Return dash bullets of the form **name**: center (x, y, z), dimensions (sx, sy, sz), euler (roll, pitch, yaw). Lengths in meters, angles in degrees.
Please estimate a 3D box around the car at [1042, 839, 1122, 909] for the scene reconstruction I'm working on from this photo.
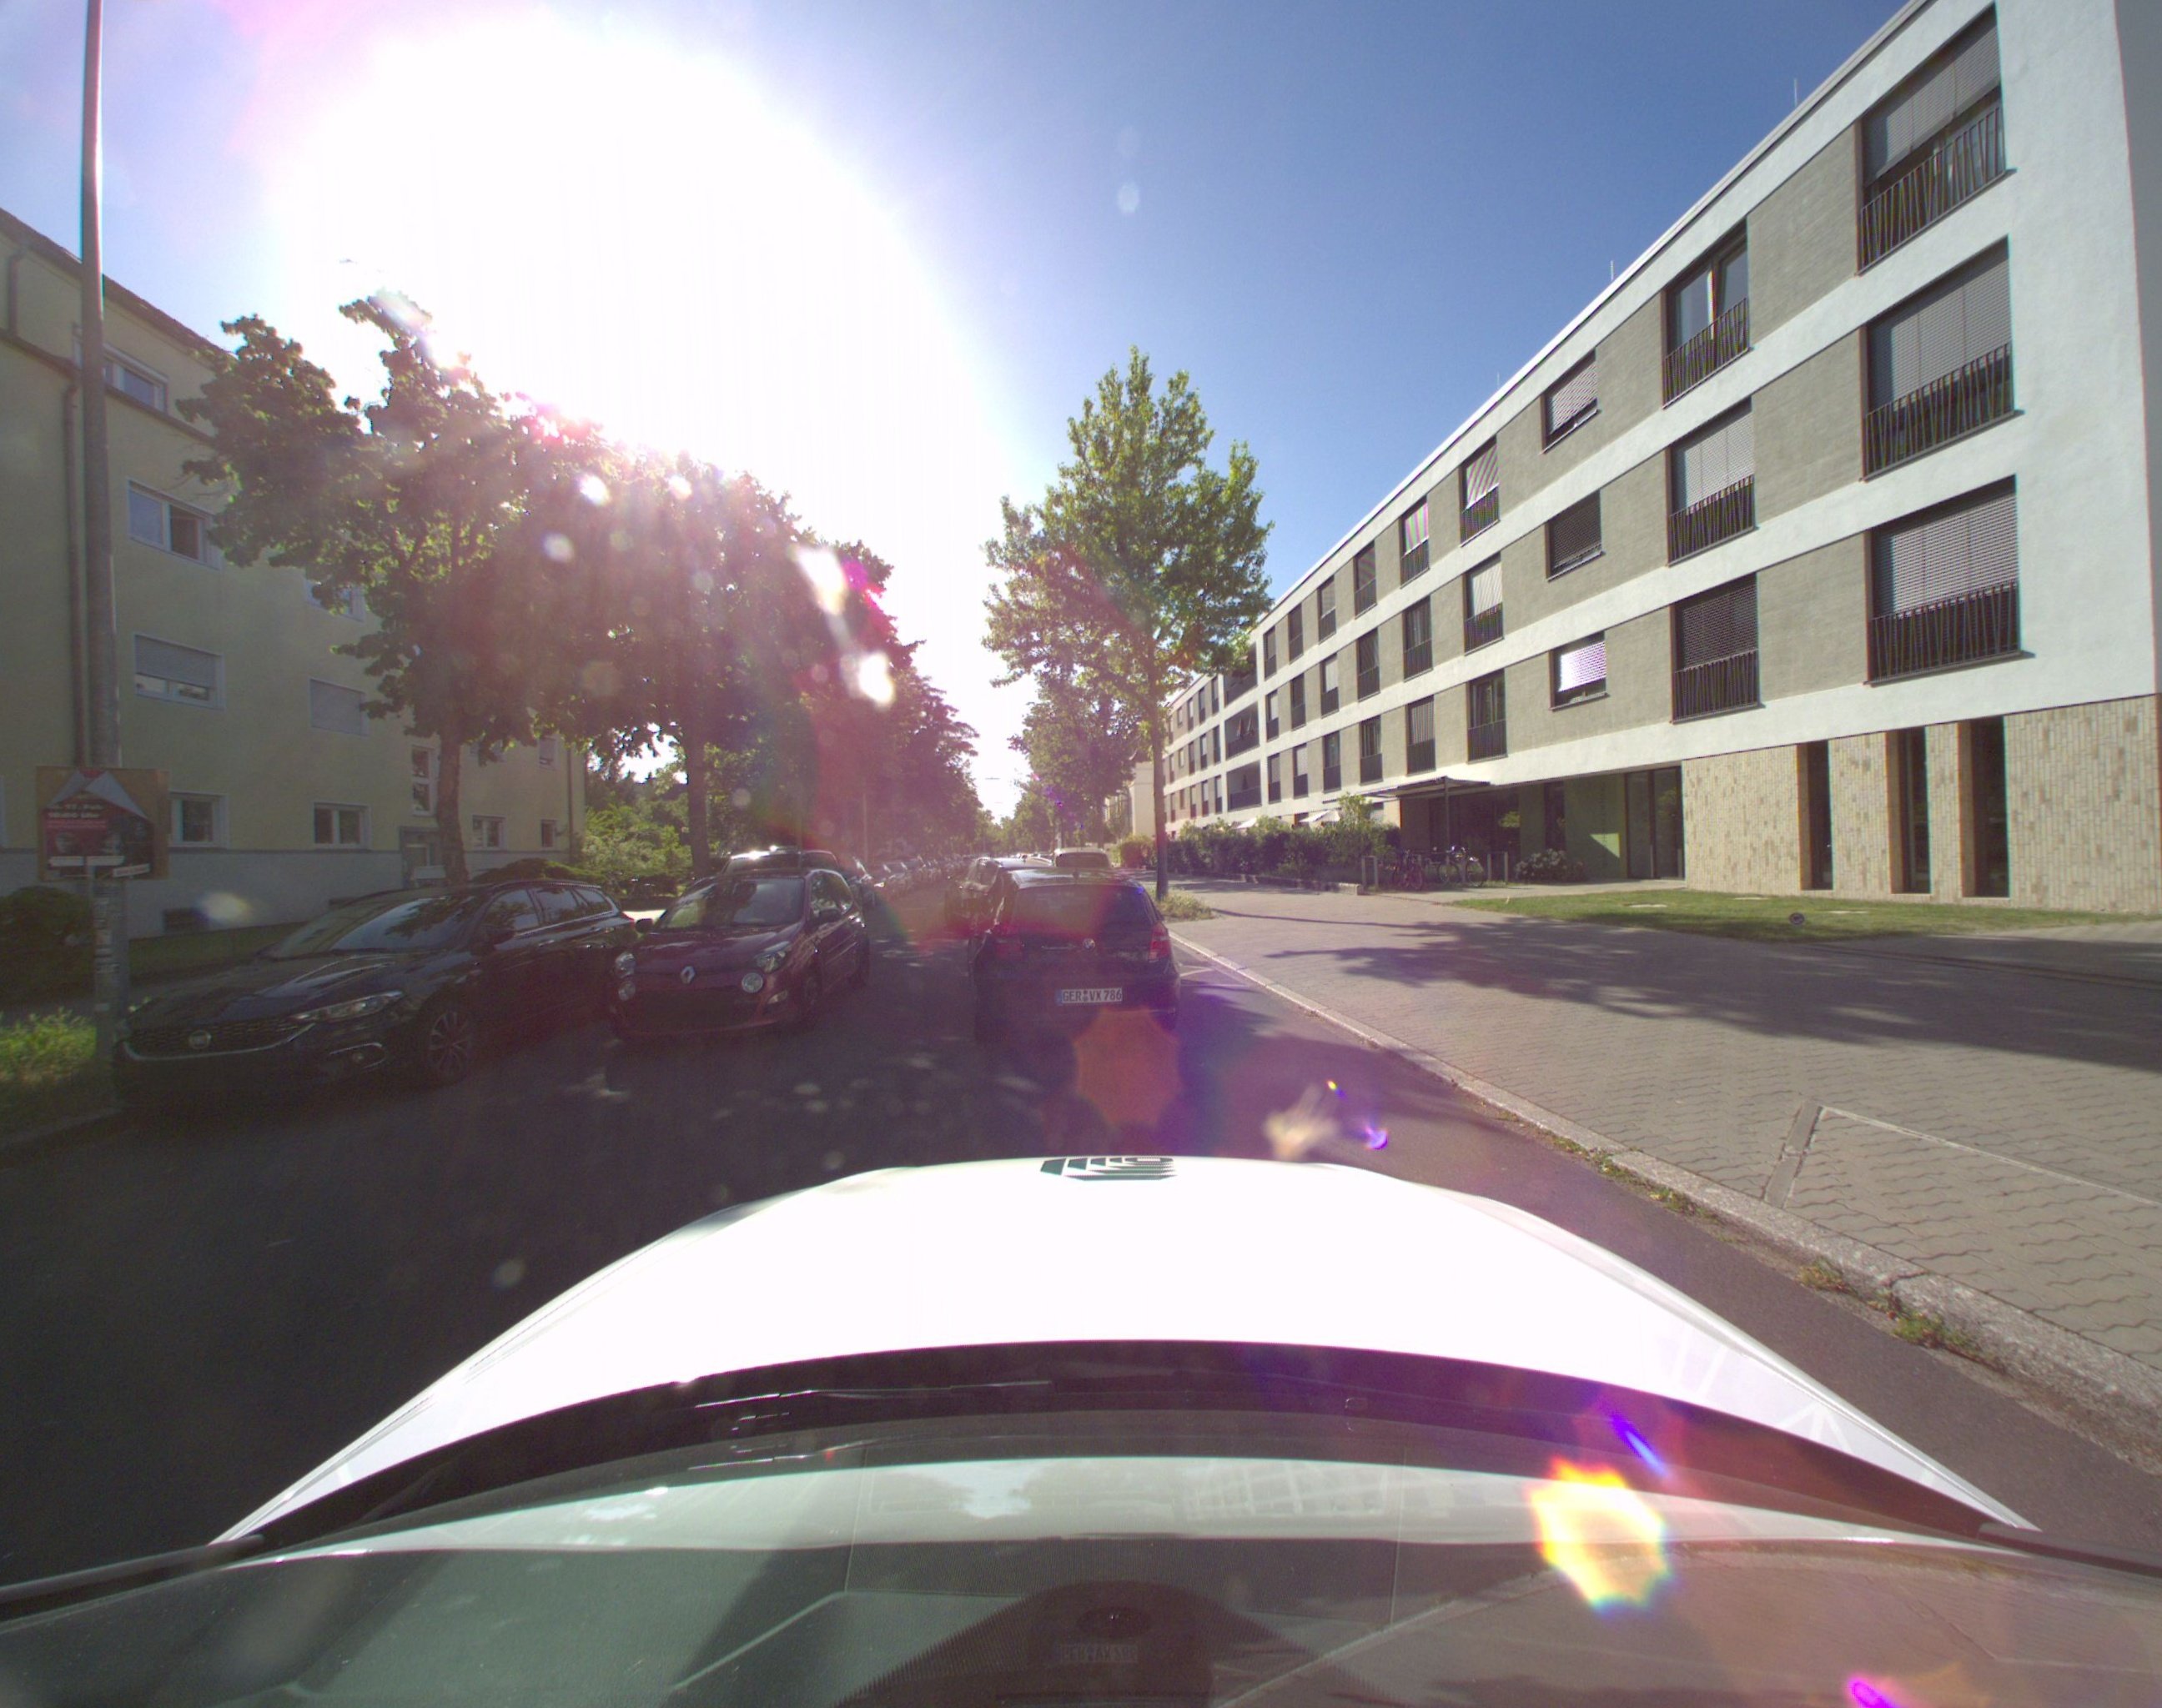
- **car**: center (-0.086, 0.493, 21.630), dimensions (1.844, 1.631, 4.404), euler (-1, 0, -4)

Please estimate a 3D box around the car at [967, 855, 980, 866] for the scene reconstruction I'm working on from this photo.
- **car**: center (-14.461, 0.884, 109.418), dimensions (1.610, 1.392, 3.857), euler (-3, 0, -6)

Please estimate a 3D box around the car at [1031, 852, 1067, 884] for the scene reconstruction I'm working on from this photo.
- **car**: center (-1.699, 0.683, 41.662), dimensions (1.717, 1.528, 3.994), euler (0, 0, -4)

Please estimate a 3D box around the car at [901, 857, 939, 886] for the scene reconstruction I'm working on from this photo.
- **car**: center (-8.825, 0.926, 44.911), dimensions (1.610, 1.452, 3.857), euler (-3, 0, -6)

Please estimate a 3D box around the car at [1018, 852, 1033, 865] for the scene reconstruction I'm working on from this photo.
- **car**: center (-7.015, 0.511, 102.531), dimensions (1.716, 1.480, 3.848), euler (-3, 0, -2)

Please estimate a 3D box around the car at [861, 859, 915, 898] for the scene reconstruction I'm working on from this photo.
- **car**: center (-7.941, 0.957, 33.821), dimensions (1.610, 1.427, 3.718), euler (-3, 0, -6)

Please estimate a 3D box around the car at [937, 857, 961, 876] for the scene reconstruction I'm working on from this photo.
- **car**: center (-10.661, 0.974, 65.773), dimensions (1.610, 1.392, 3.857), euler (-3, 0, -6)

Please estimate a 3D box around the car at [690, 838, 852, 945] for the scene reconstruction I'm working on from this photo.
- **car**: center (-6.545, 0.700, 17.874), dimensions (1.823, 1.904, 5.134), euler (-3, 0, -4)

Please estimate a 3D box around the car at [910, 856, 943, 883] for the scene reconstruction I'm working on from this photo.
- **car**: center (-9.346, 0.906, 49.485), dimensions (1.610, 1.452, 3.857), euler (-3, 0, -6)

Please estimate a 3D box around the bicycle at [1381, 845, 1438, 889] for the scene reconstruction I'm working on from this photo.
- **bicycle**: center (8.479, 0.324, 21.083), dimensions (0.545, 1.055, 1.687), euler (-3, 0, -8)

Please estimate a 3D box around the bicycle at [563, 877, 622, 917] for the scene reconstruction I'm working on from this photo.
- **bicycle**: center (-13.679, 1.179, 22.874), dimensions (0.594, 0.991, 1.924), euler (-2, 0, -5)

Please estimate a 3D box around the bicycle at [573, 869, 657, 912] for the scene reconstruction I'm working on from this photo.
- **bicycle**: center (-14.657, 1.124, 25.656), dimensions (2.150, 1.208, 0.686), euler (-3, 0, -17)

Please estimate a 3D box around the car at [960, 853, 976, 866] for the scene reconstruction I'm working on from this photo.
- **car**: center (-13.190, 0.640, 95.248), dimensions (1.610, 1.392, 3.857), euler (-3, 0, -6)

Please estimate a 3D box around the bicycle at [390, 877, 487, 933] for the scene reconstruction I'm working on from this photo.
- **bicycle**: center (-13.300, 1.028, 16.934), dimensions (0.594, 0.991, 1.924), euler (-2, 0, -5)

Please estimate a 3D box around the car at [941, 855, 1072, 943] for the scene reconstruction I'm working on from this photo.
- **car**: center (-1.597, 0.776, 16.026), dimensions (1.654, 1.425, 3.975), euler (-3, 0, -19)

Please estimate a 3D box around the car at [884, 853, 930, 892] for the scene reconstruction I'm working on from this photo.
- **car**: center (-8.339, 0.827, 39.239), dimensions (1.610, 1.678, 4.225), euler (-3, 0, -6)

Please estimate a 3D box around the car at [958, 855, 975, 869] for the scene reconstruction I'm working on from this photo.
- **car**: center (-12.645, 0.829, 89.860), dimensions (1.610, 1.392, 3.857), euler (-3, 0, -6)

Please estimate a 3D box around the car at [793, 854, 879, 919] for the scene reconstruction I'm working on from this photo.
- **car**: center (-6.951, 0.844, 23.485), dimensions (1.611, 1.611, 4.218), euler (-3, 0, -7)

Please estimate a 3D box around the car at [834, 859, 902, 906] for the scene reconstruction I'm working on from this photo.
- **car**: center (-7.439, 0.938, 28.761), dimensions (1.610, 1.427, 4.049), euler (-3, 0, -6)

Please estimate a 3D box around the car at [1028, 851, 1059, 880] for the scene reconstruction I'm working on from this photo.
- **car**: center (-2.251, 0.624, 47.634), dimensions (1.717, 1.641, 3.845), euler (0, 0, -4)

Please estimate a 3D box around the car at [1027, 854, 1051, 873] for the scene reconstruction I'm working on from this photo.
- **car**: center (-3.262, 0.708, 62.698), dimensions (1.717, 1.379, 3.845), euler (0, 0, -4)

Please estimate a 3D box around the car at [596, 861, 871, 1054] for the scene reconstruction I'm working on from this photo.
- **car**: center (-3.200, 0.843, 8.158), dimensions (1.502, 1.426, 3.173), euler (-3, 0, -4)

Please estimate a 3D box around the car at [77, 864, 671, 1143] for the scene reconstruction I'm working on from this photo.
- **car**: center (-5.558, 0.942, 7.436), dimensions (1.505, 1.548, 4.769), euler (-4, 0, -6)

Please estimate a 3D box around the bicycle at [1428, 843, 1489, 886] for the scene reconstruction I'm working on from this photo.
- **bicycle**: center (9.829, 0.269, 21.262), dimensions (0.545, 1.055, 1.775), euler (-3, 0, -8)

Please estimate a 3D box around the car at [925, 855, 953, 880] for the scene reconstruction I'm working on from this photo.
- **car**: center (-9.797, 0.914, 56.373), dimensions (1.610, 1.543, 3.857), euler (-3, 0, -6)

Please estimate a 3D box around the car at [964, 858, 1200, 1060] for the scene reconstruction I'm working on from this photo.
- **car**: center (-0.205, 0.788, 7.866), dimensions (1.650, 1.396, 3.399), euler (-3, 0, -10)
